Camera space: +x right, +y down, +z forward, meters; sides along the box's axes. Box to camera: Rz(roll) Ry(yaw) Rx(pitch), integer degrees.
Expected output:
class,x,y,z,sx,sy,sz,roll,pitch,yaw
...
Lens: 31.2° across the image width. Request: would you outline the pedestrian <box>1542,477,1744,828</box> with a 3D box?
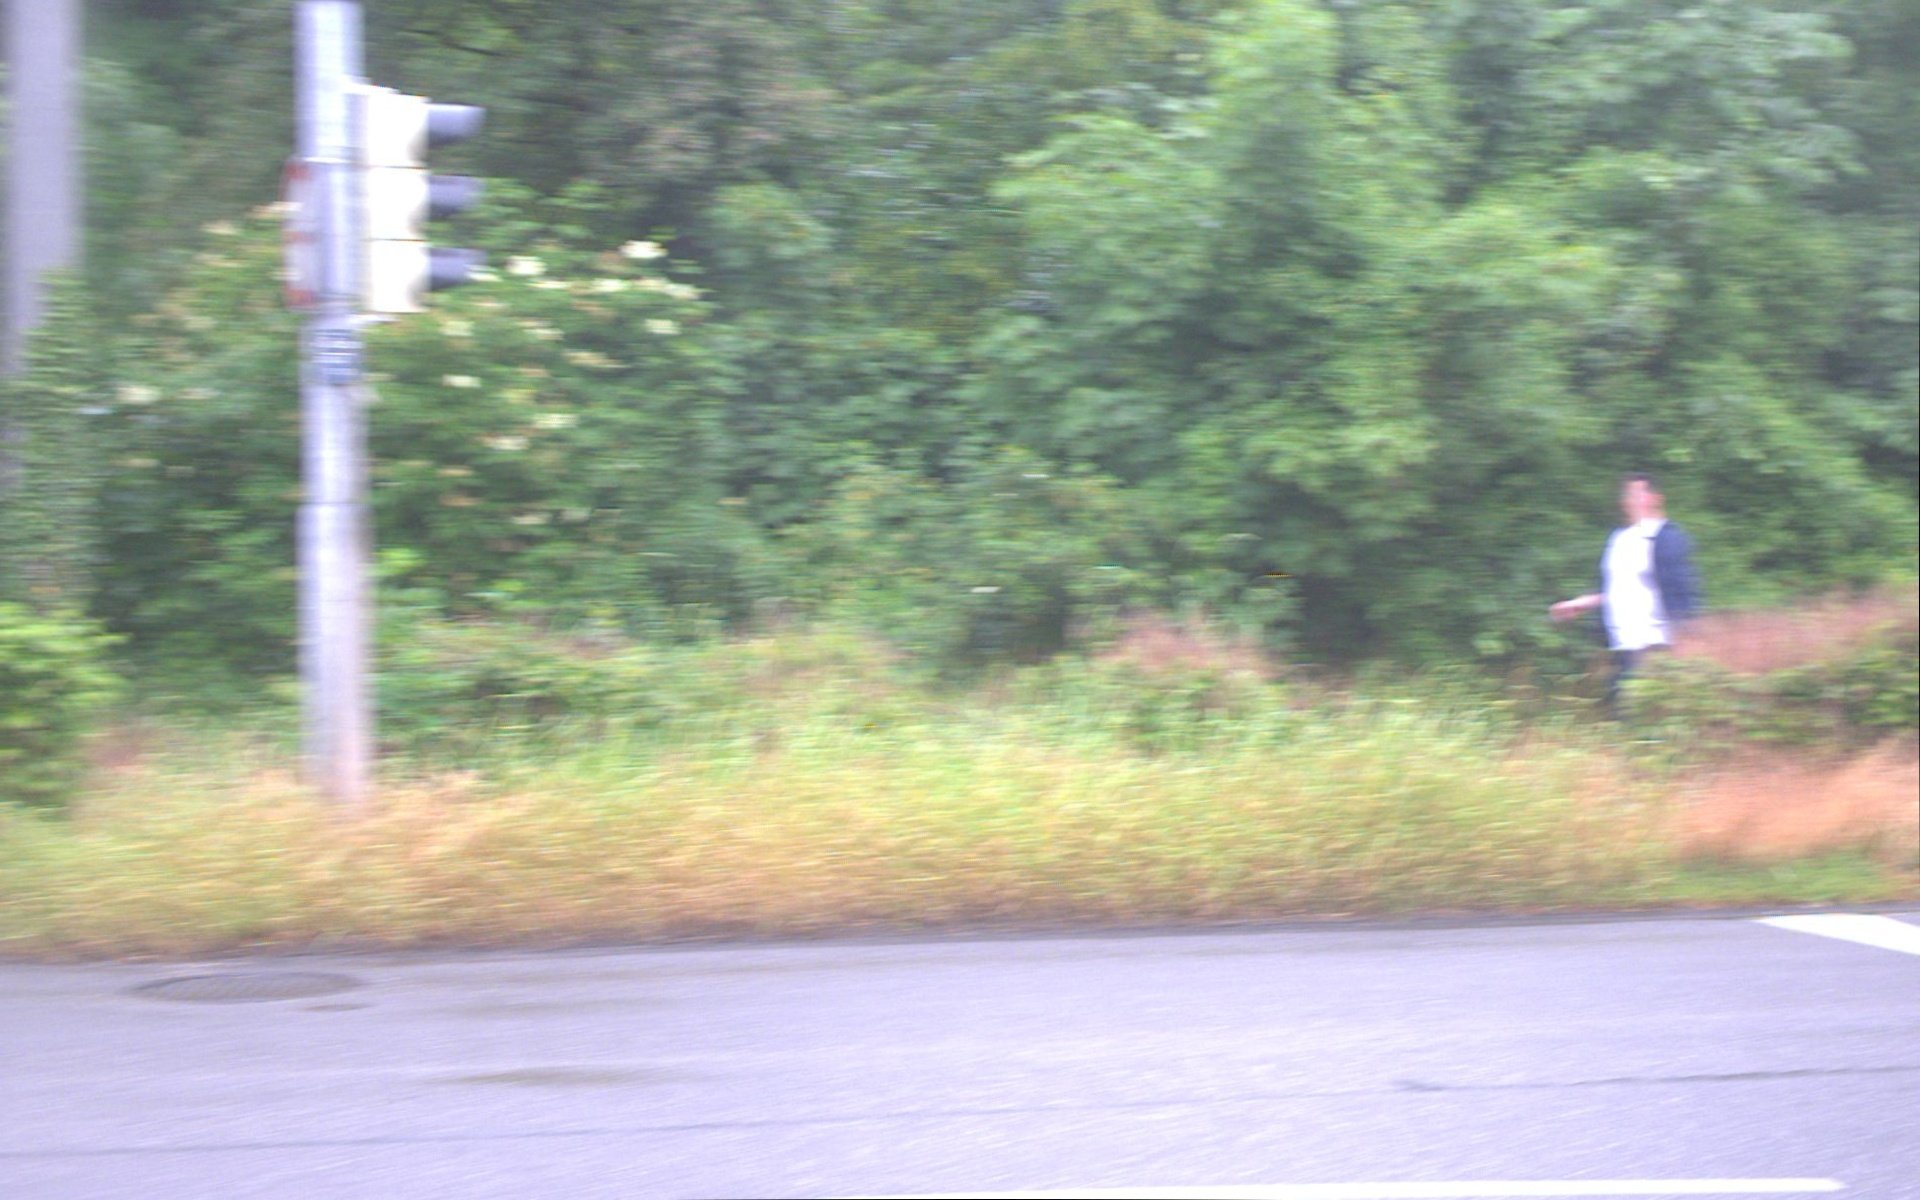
class,x,y,z,sx,sy,sz,roll,pitch,yaw
pedestrian,3.575,0.264,18.034,0.761,1.793,0.779,0,1,-14
